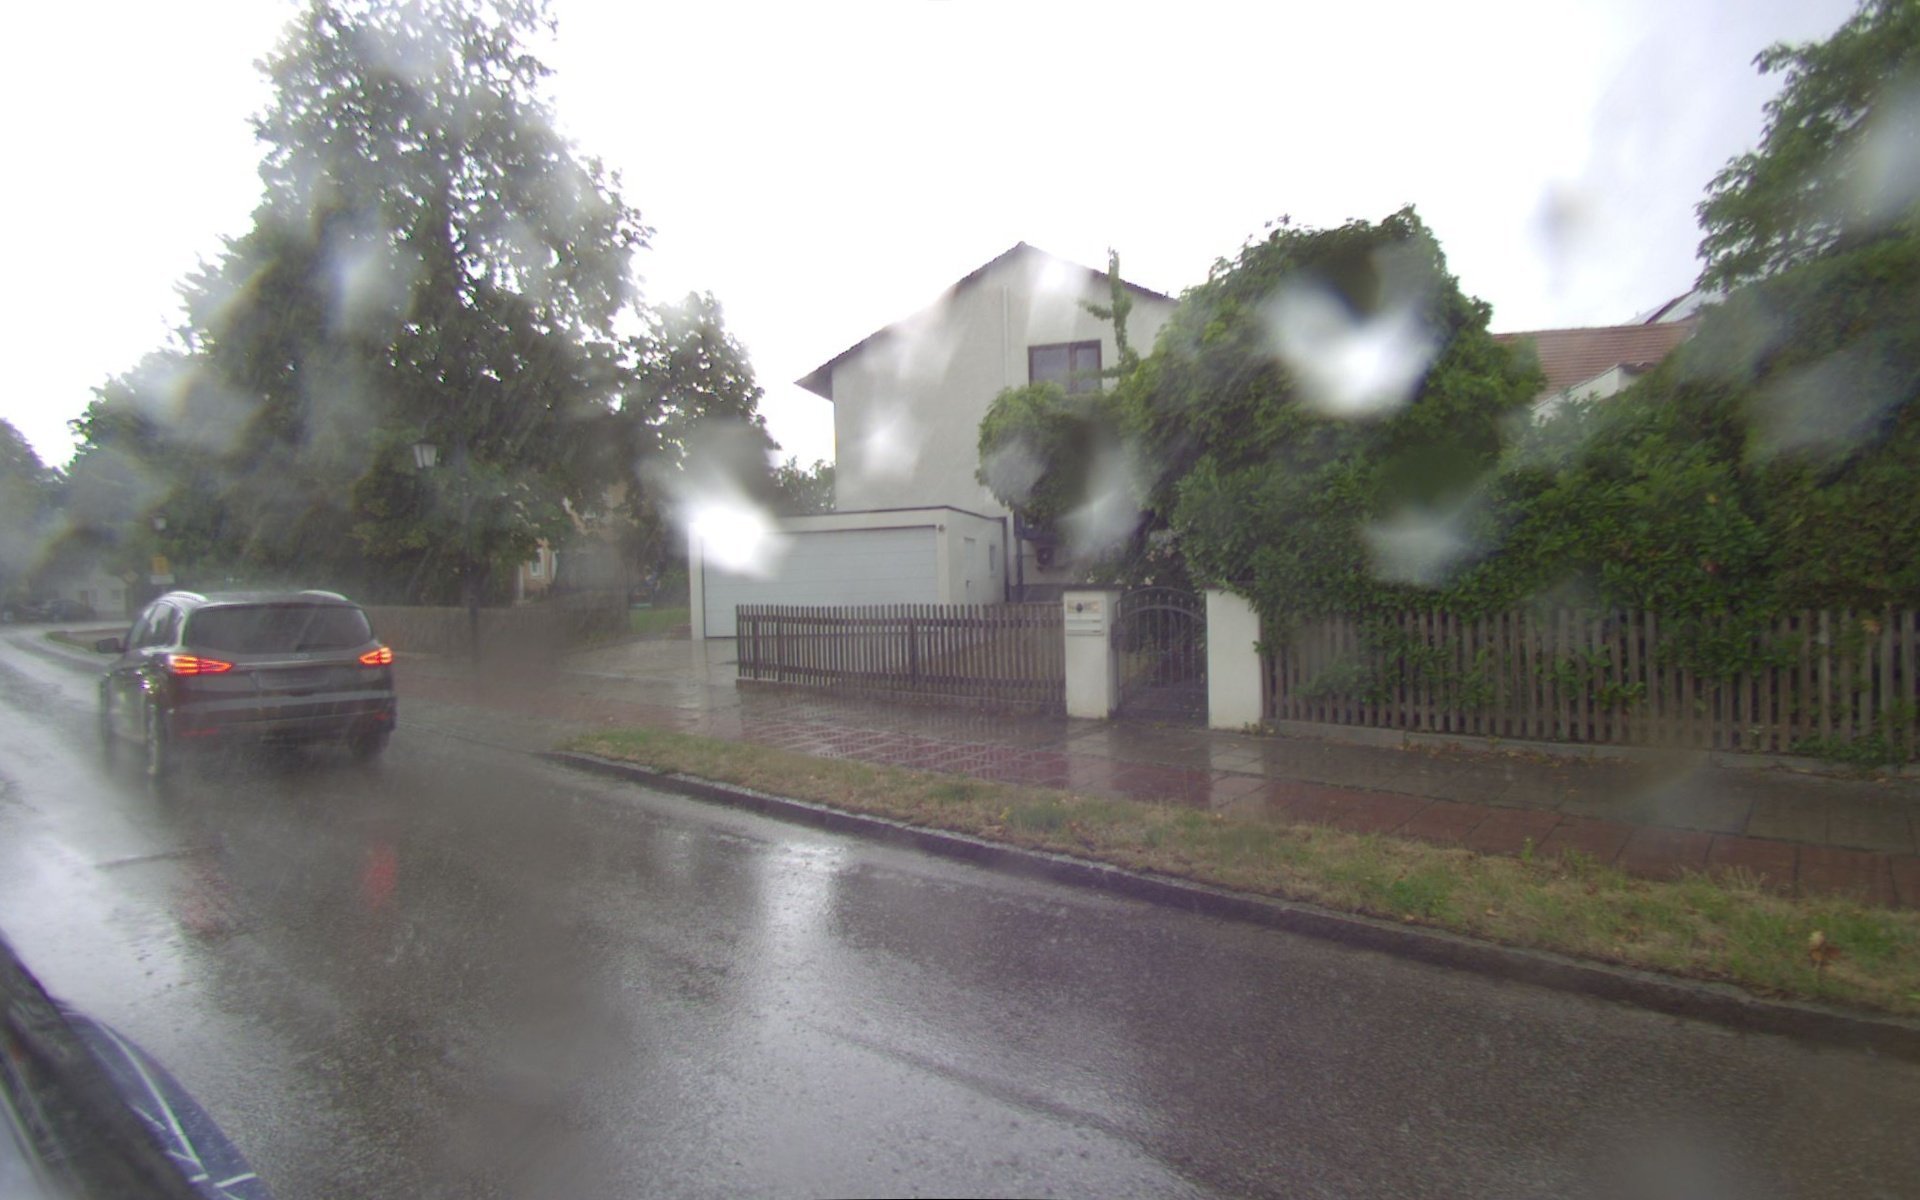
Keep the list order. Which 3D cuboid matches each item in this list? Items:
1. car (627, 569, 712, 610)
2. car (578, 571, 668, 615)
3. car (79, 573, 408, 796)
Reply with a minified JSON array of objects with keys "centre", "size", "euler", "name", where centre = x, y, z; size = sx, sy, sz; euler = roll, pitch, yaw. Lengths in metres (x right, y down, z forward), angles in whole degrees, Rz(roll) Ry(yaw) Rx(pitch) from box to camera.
[{"centre":[-14.804,-0.543,51.639],"size":[3.615,1.815,1.838],"euler":[-3,2,9],"name":"car"},{"centre":[-16.182,-0.336,48.704],"size":[3.615,1.815,1.838],"euler":[-3,2,9],"name":"car"},{"centre":[-7.272,0.680,10.097],"size":[4.192,1.757,1.901],"euler":[-1,0,43],"name":"car"}]
